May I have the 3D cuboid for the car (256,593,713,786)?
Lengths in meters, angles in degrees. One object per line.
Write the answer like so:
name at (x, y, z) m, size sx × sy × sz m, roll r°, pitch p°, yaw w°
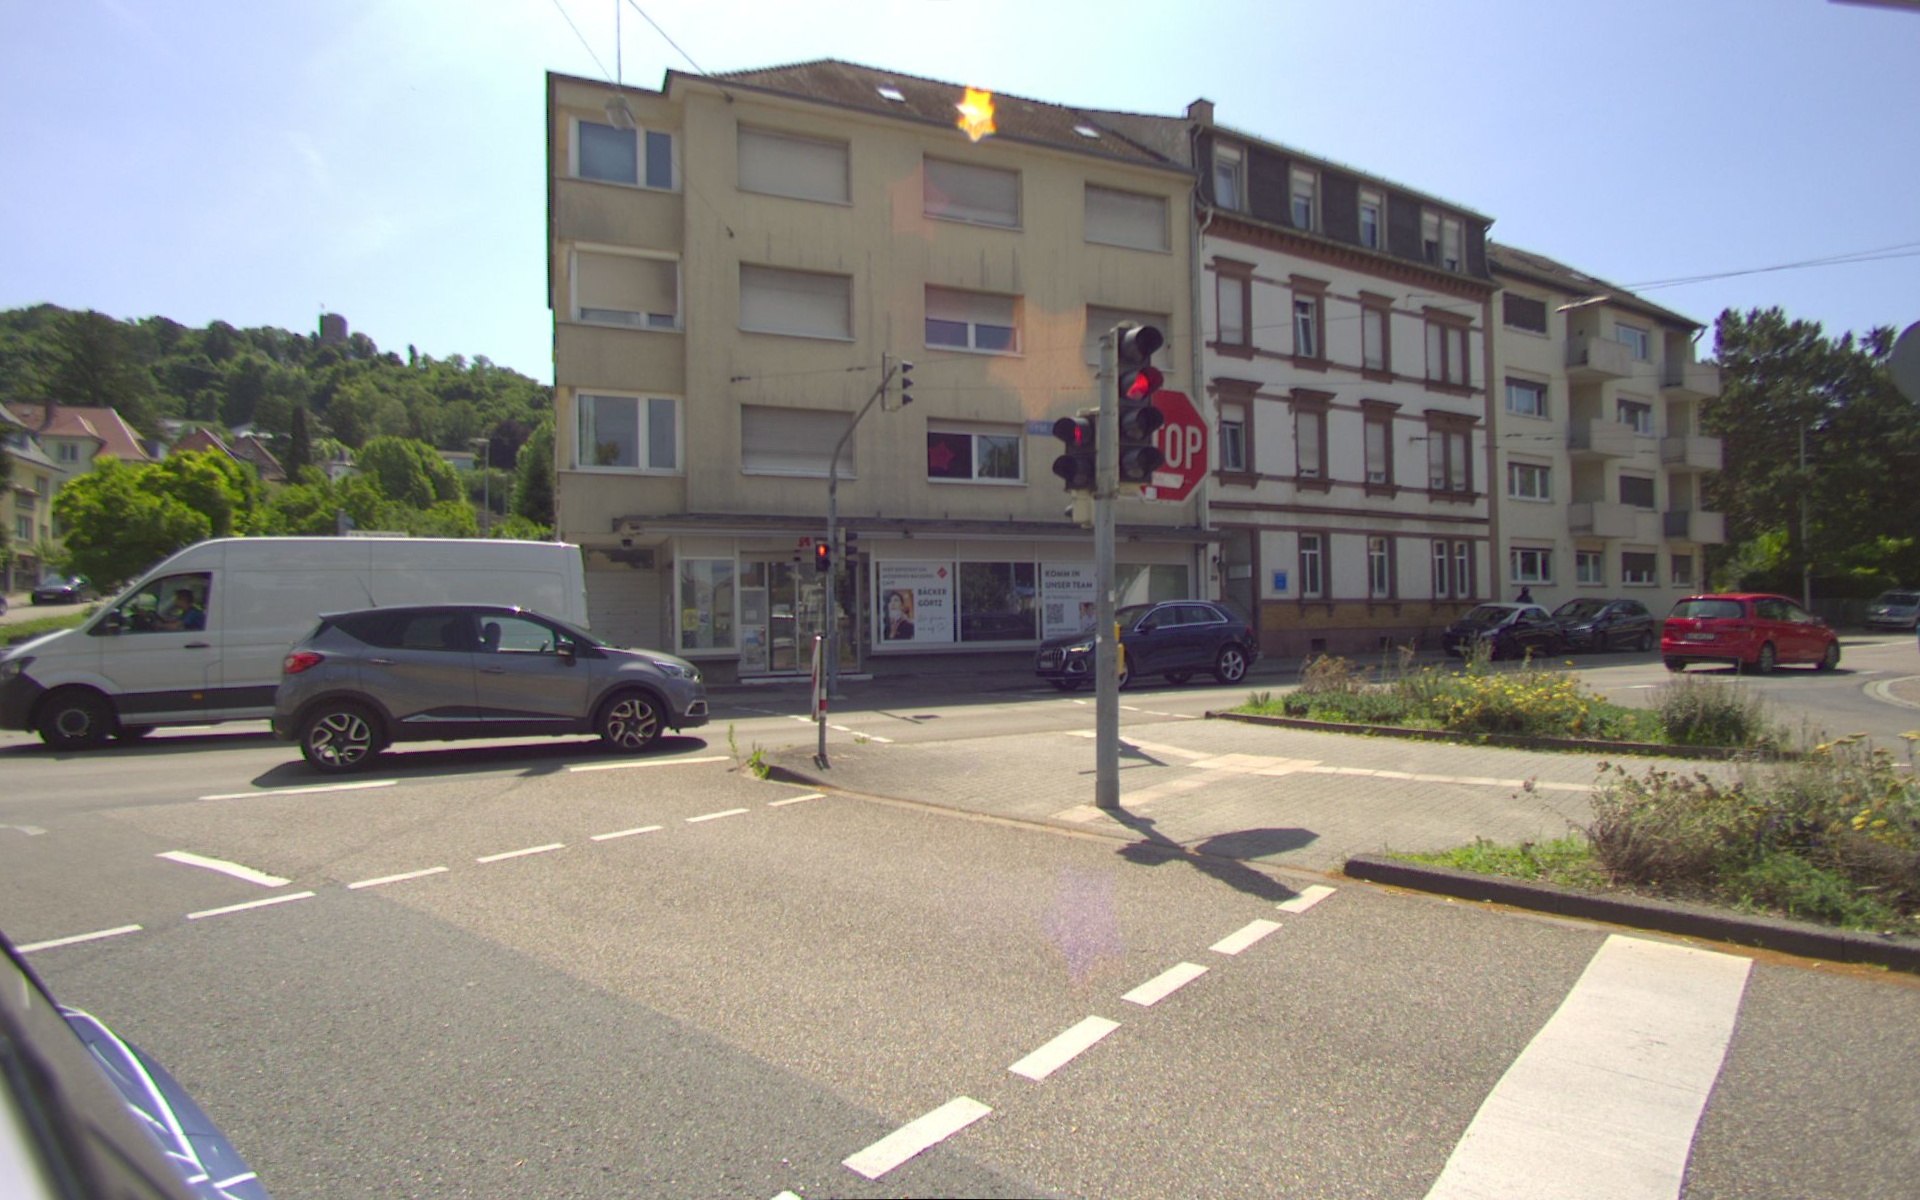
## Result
car at (-4.711, 0.793, 10.474) m, size 3.931 × 1.644 × 1.765 m, roll -1°, pitch 0°, yaw -22°

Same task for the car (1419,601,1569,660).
car at (14.772, 0.809, 27.961) m, size 3.933 × 1.530 × 2.005 m, roll 0°, pitch -1°, yaw -34°

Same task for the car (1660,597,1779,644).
car at (26.210, 0.703, 34.906) m, size 3.932 × 1.521 × 2.005 m, roll 0°, pitch -1°, yaw -33°

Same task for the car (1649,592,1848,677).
car at (16.078, 0.642, 20.610) m, size 3.968 × 1.569 × 1.810 m, roll -1°, pitch 0°, yaw -30°

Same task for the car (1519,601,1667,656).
car at (18.853, 0.811, 30.106) m, size 4.307 × 1.521 × 2.006 m, roll 0°, pitch -1°, yaw -32°

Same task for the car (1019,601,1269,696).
car at (3.427, 0.882, 18.902) m, size 4.211 × 1.570 × 1.864 m, roll -1°, pitch -3°, yaw -24°

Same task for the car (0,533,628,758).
car at (-8.456, 0.554, 13.530) m, size 7.423 × 2.520 × 2.230 m, roll -1°, pitch -4°, yaw -24°

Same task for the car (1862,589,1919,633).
car at (40.272, 0.424, 42.868) m, size 3.968 × 1.730 × 1.811 m, roll -1°, pitch 2°, yaw -29°

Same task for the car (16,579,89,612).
car at (-44.828, -0.273, 50.081) m, size 1.727 × 1.458 × 3.753 m, roll -1°, pitch 3°, yaw -26°

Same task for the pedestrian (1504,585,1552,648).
pedestrian at (17.906, 0.530, 31.927) m, size 0.960 × 1.946 × 0.941 m, roll 0°, pitch -2°, yaw -32°

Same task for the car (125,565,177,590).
car at (-49.831, -1.420, 62.423) m, size 1.727 × 1.458 × 3.753 m, roll -1°, pitch 3°, yaw -26°
